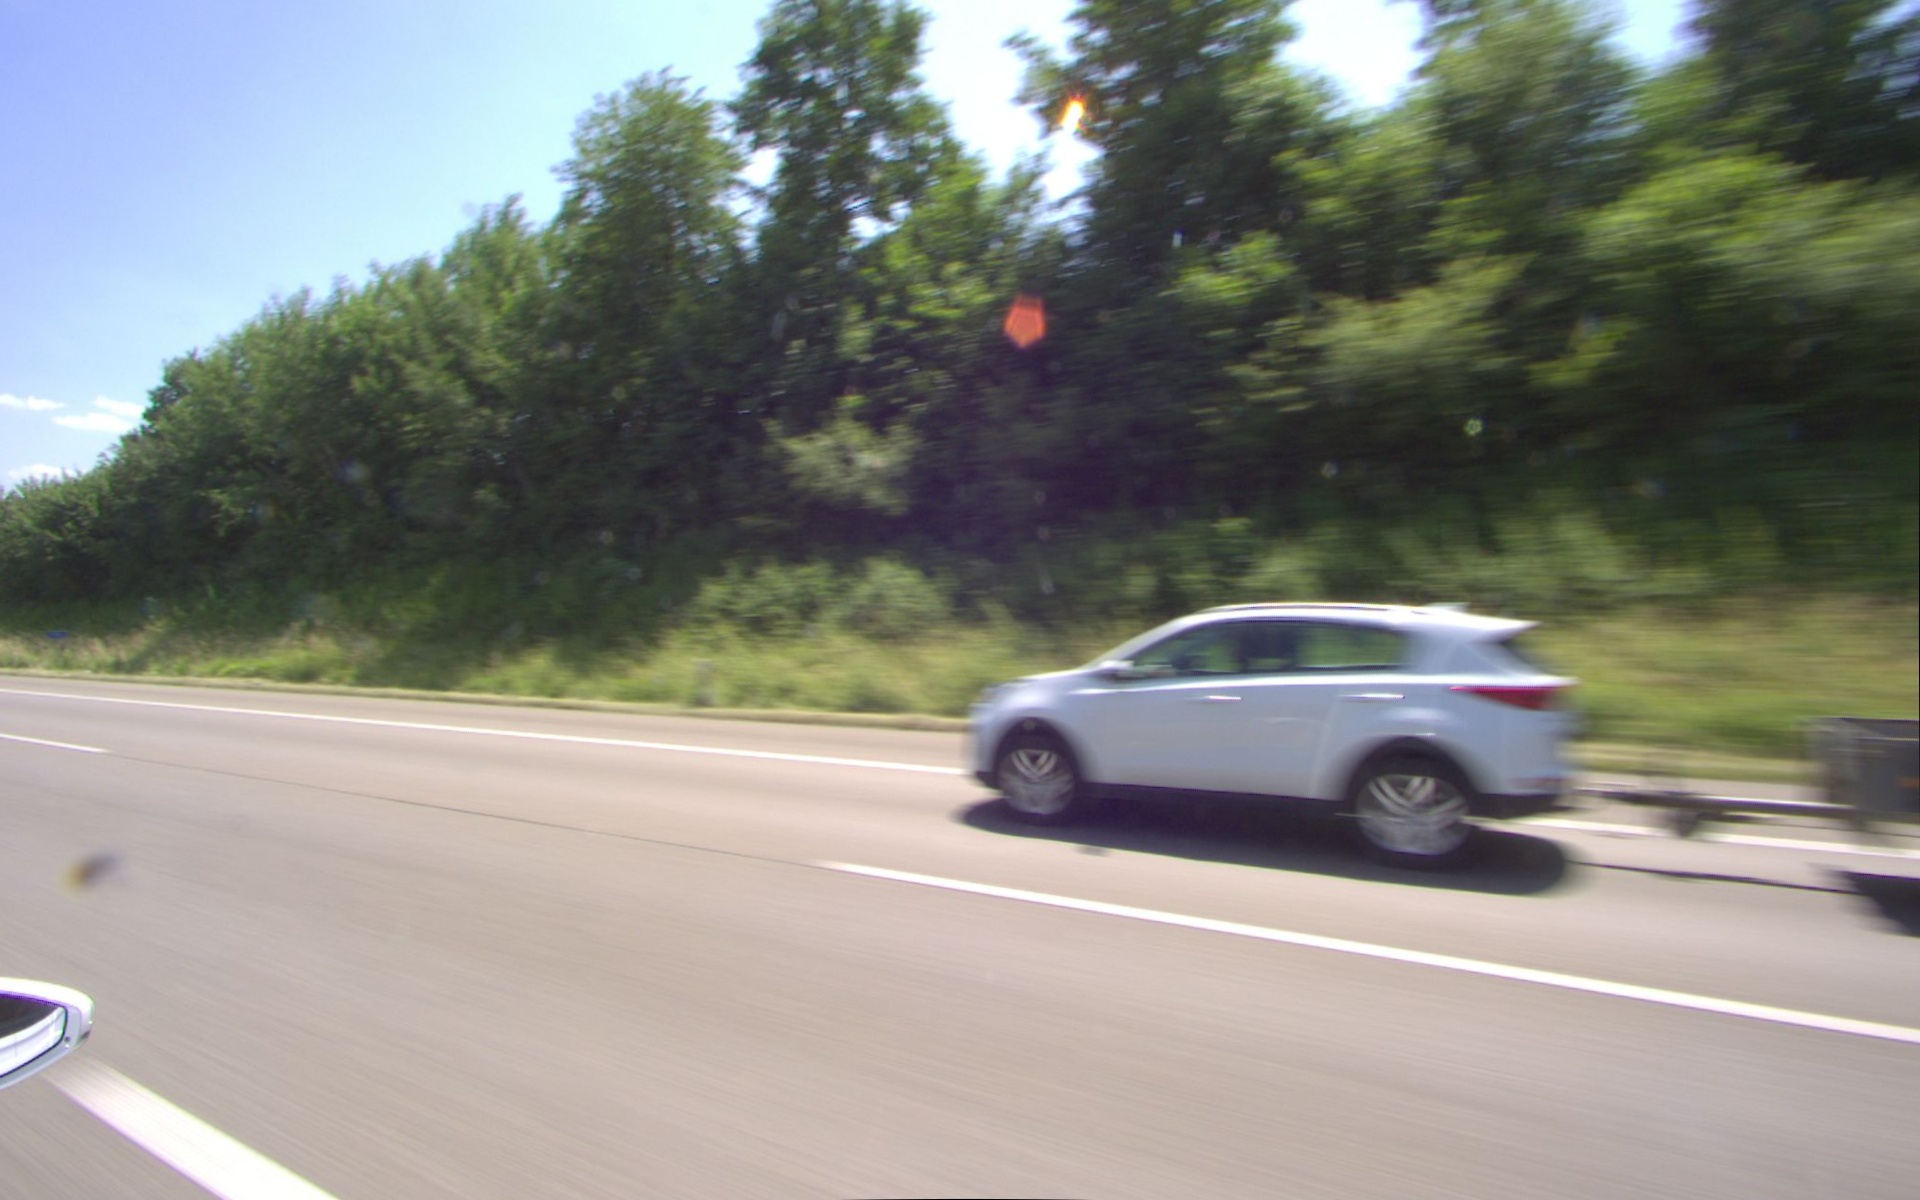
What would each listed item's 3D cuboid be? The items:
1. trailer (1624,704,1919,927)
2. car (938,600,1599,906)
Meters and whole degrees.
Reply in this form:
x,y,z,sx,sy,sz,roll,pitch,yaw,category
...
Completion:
x,y,z,sx,sy,sz,roll,pitch,yaw,category
5.967,1.139,5.069,4.256,0.920,1.751,-1,-2,32,trailer
2.144,0.874,7.462,4.338,1.672,1.778,0,-1,32,car
